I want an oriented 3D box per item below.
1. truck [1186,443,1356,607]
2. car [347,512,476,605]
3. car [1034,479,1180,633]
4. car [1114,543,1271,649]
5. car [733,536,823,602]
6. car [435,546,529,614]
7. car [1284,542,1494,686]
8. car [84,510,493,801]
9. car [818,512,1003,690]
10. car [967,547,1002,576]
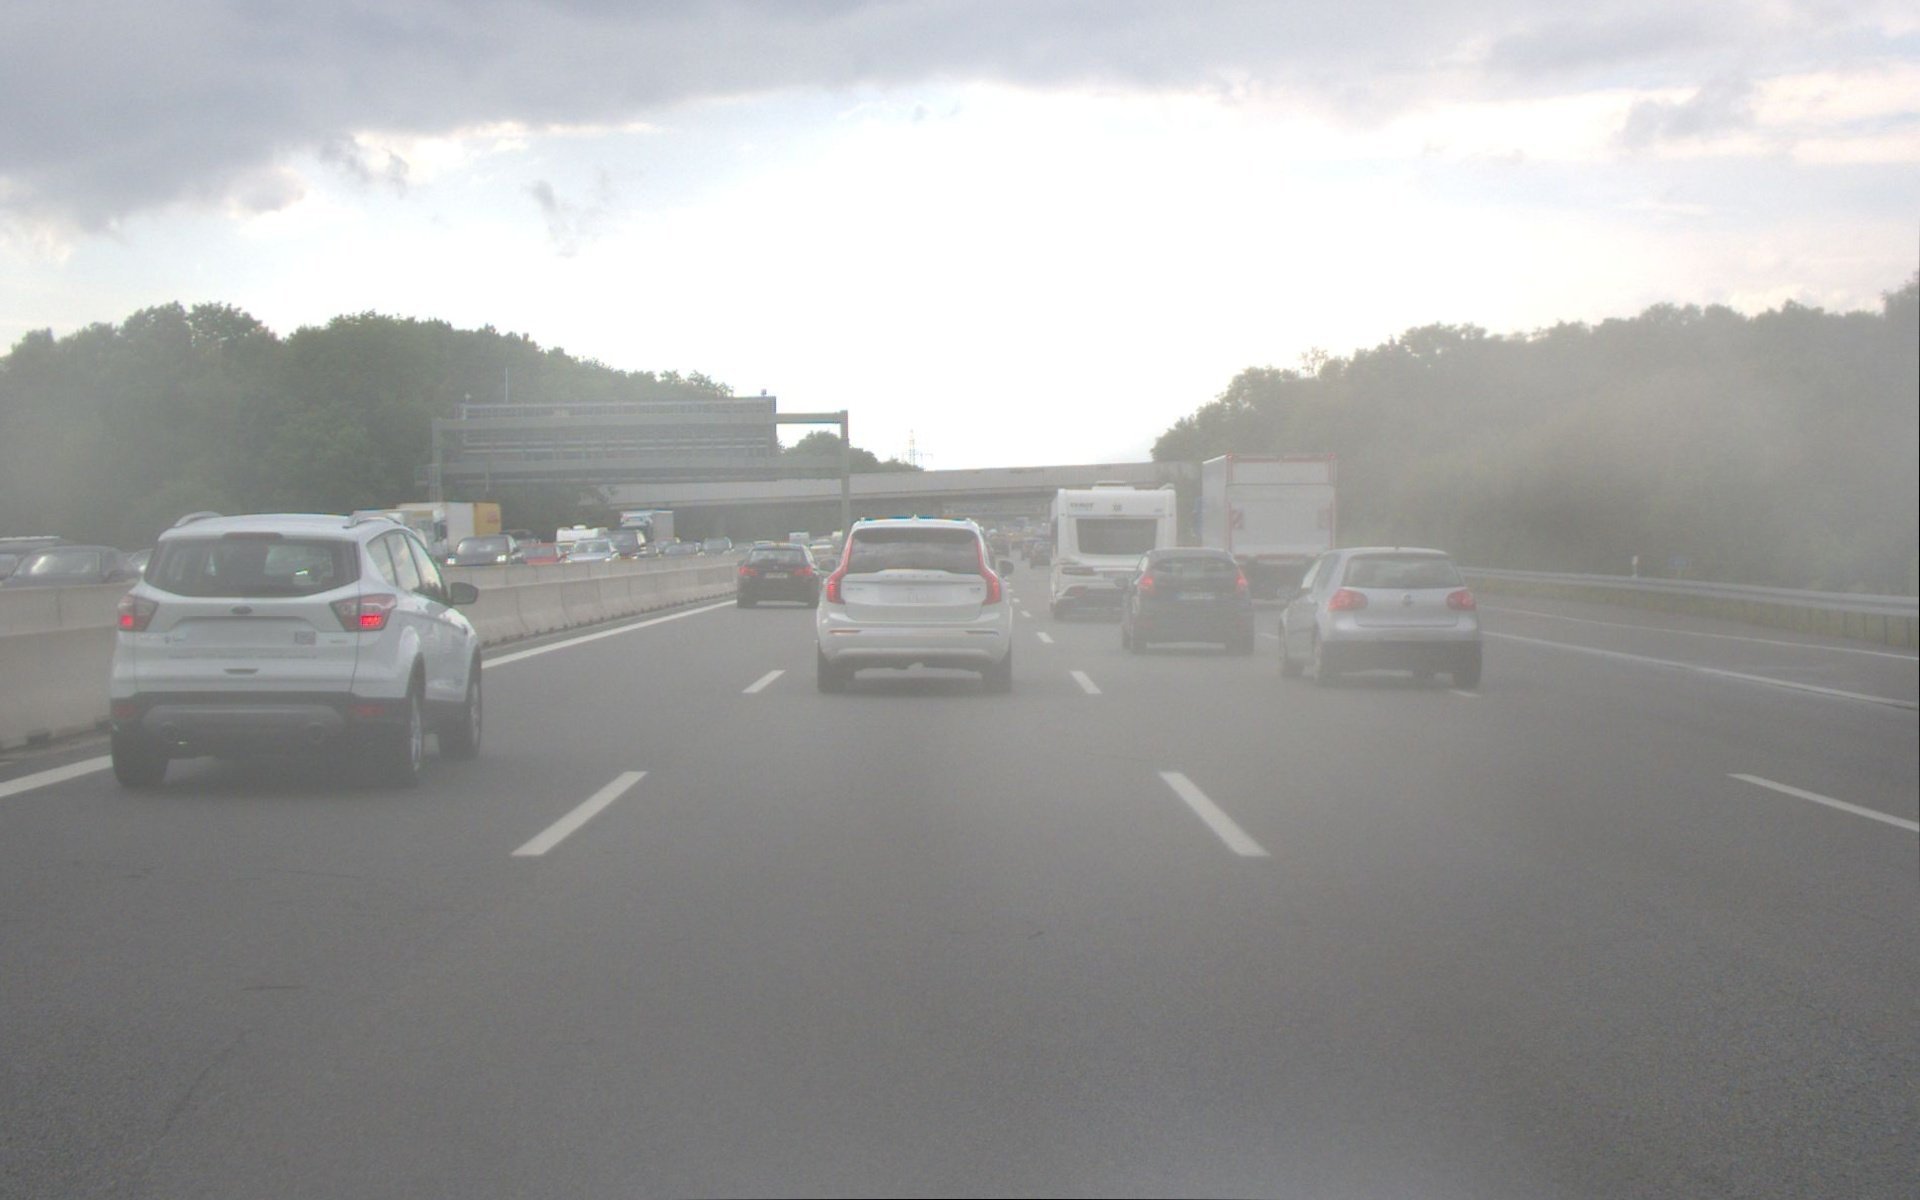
[{"bbox_3d":[7.389,-1.786,82.981,3.133,3.697,9.848,0,1,0],"label":"truck"},{"bbox_3d":[-12.179,-0.941,76.689,1.993,2.007,5.418,0,1,0],"label":"car"},{"bbox_3d":[2.848,-0.895,68.497,2.567,2.885,7.534,0,1,0],"label":"car"},{"bbox_3d":[3.203,-0.086,48.042,1.885,1.402,4.282,0,1,0],"label":"car"},{"bbox_3d":[-4.186,-0.738,79.555,1.781,1.476,4.353,0,1,1],"label":"car"},{"bbox_3d":[-13.618,-0.592,98.105,1.993,1.897,4.503,0,1,1],"label":"car"},{"bbox_3d":[4.617,0.108,37.509,1.795,1.472,4.038,0,1,0],"label":"car"},{"bbox_3d":[-4.228,0.265,22.382,1.815,1.684,4.852,0,1,-1],"label":"car"},{"bbox_3d":[-0.501,-0.031,35.436,1.781,1.710,4.353,0,1,-1],"label":"car"},{"bbox_3d":[1.415,-2.243,200.175,1.881,1.680,4.000,0,1,-2],"label":"car"}]
